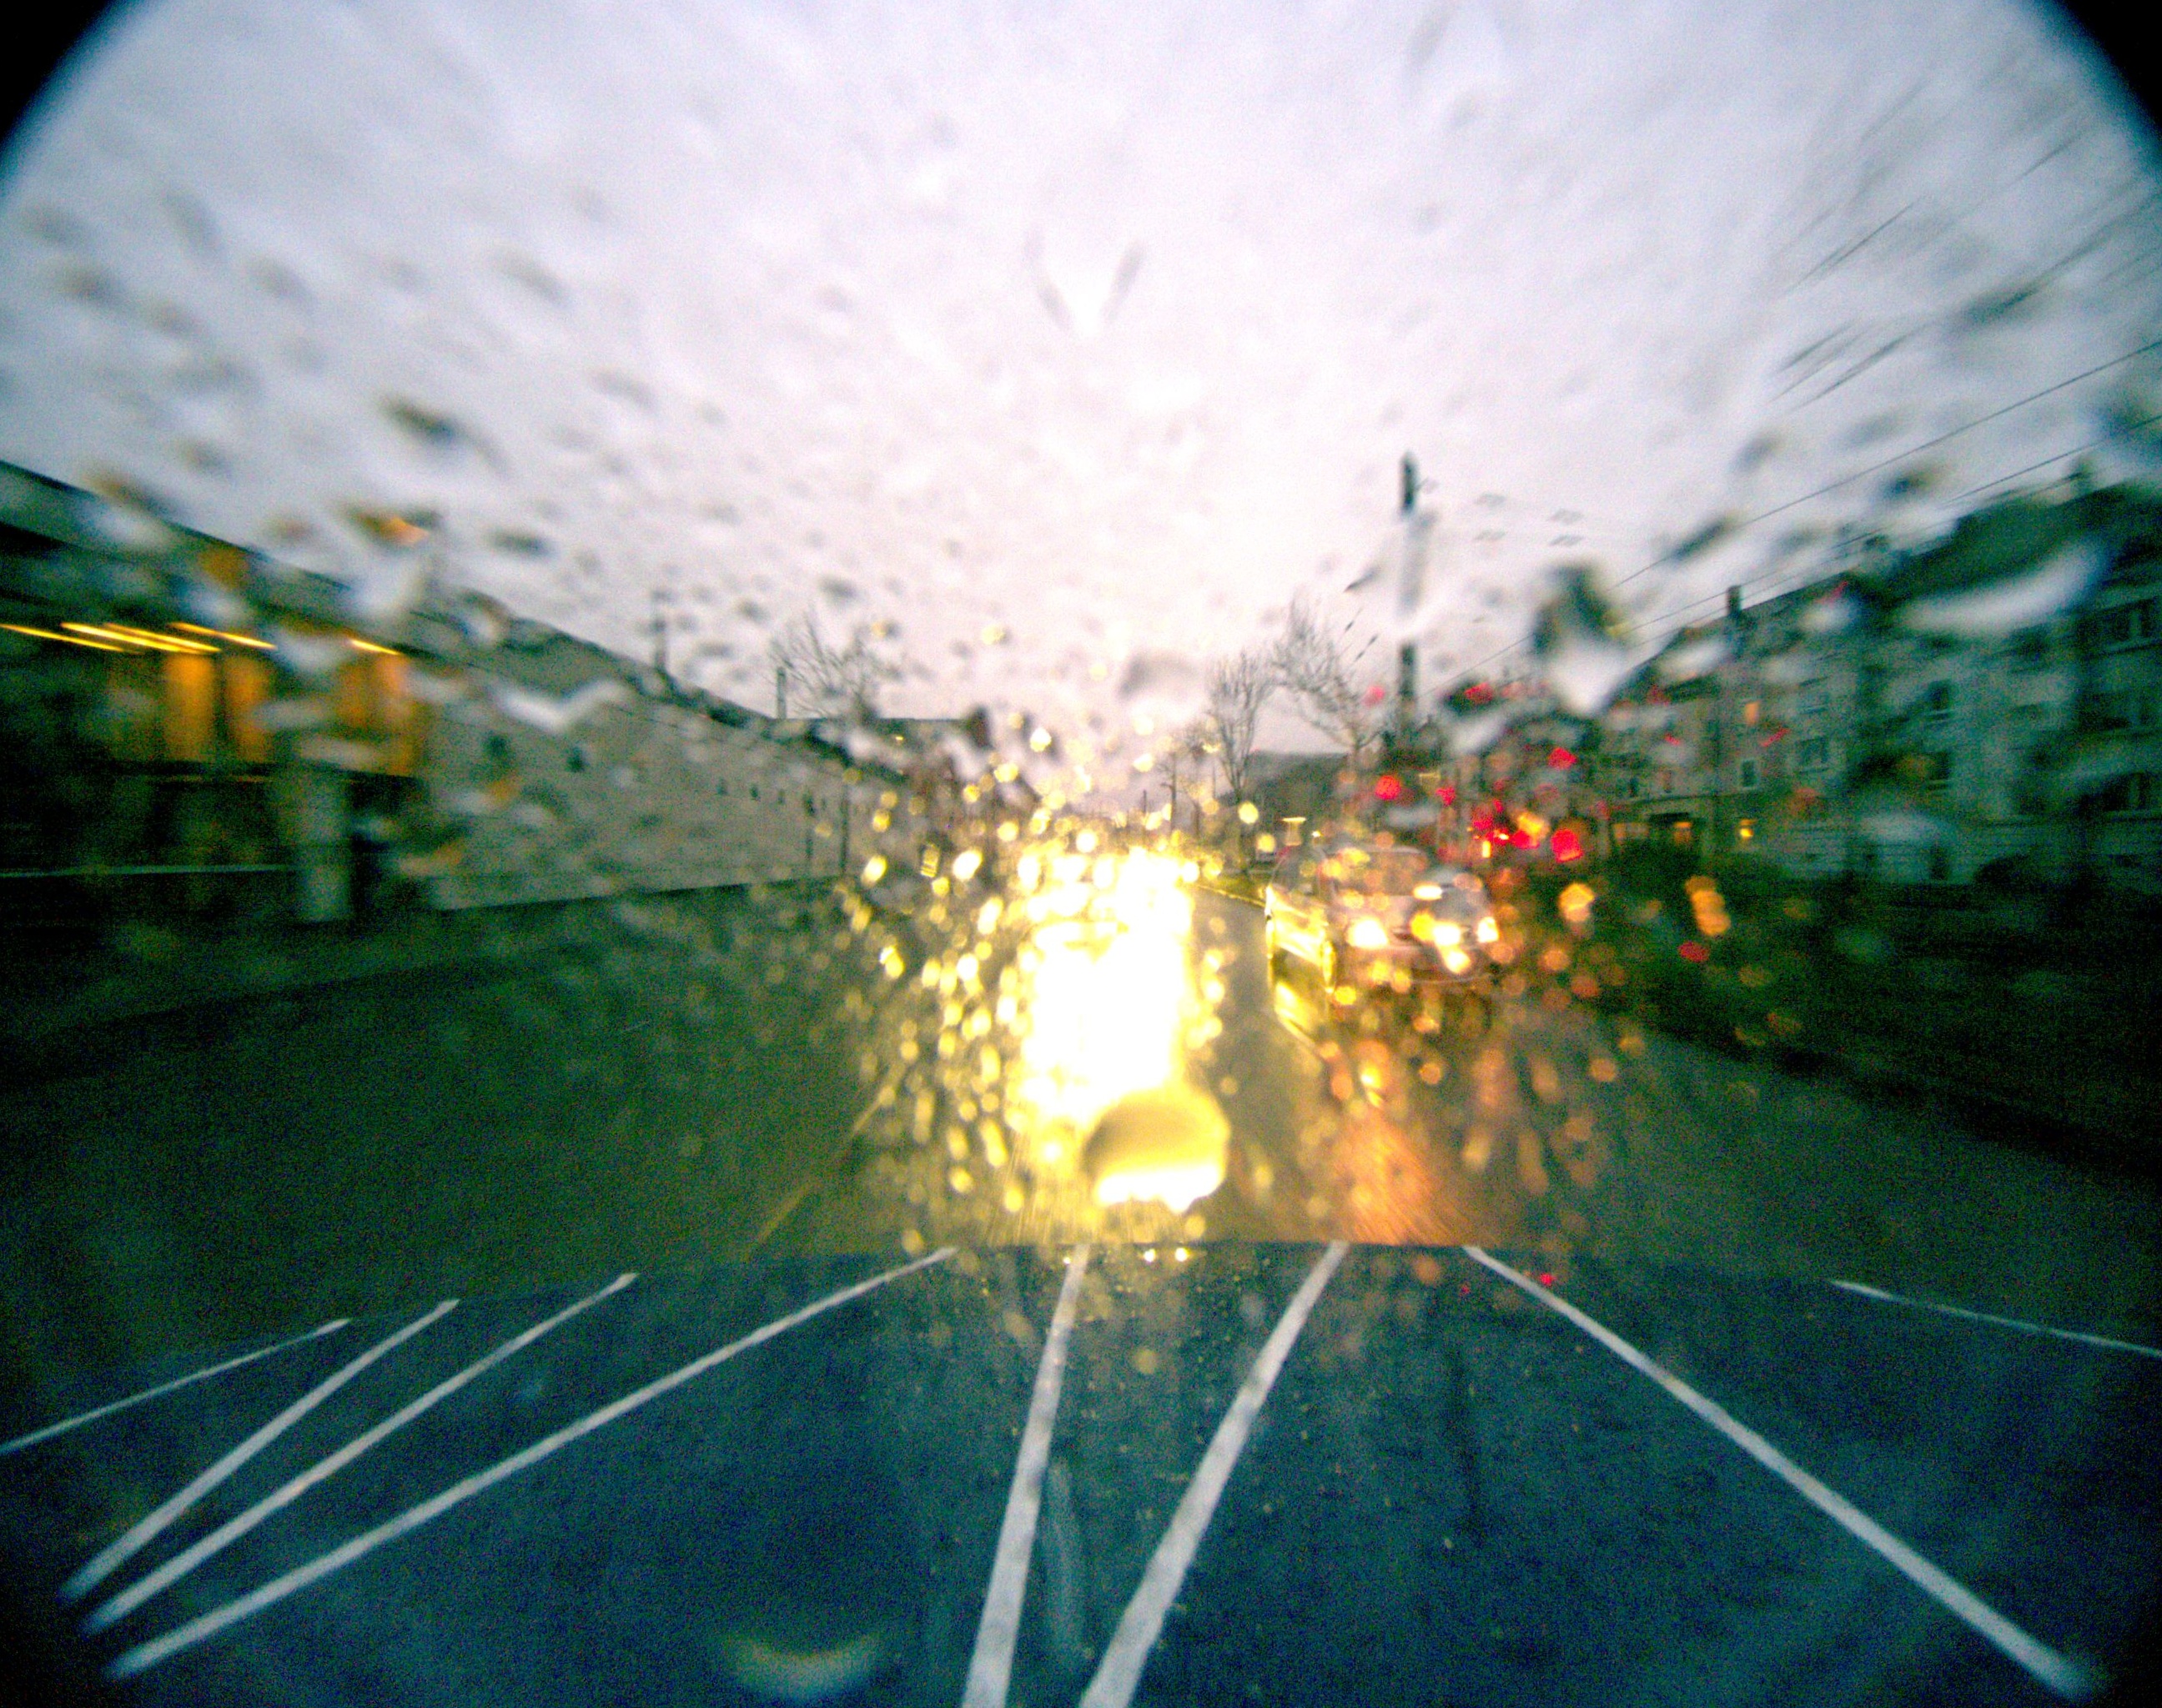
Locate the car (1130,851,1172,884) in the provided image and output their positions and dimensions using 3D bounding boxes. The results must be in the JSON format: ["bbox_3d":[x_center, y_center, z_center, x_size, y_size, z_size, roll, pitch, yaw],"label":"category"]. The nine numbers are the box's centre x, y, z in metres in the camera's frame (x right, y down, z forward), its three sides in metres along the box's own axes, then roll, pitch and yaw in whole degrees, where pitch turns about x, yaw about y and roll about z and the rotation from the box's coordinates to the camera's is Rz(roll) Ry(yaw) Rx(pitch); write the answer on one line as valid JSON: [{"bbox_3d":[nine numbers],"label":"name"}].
[{"bbox_3d":[3.439,0.635,37.764,1.905,1.475,3.656,-2,1,3],"label":"car"}]

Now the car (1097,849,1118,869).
[{"bbox_3d":[2.433,0.439,70.484,1.802,1.674,3.805,-2,1,1],"label":"car"}]

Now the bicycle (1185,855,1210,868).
[{"bbox_3d":[8.601,0.579,56.272,1.725,0.893,0.733,2,2,1],"label":"bicycle"}]

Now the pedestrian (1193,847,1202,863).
[{"bbox_3d":[8.599,0.042,56.234,0.562,1.150,0.582,-2,1,3],"label":"pedestrian"}]

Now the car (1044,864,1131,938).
[{"bbox_3d":[0.148,0.946,16.858,1.669,1.325,3.786,-2,1,1],"label":"car"}]

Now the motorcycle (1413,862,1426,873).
[{"bbox_3d":[21.021,0.839,47.225,0.422,0.679,1.176,-2,1,7],"label":"motorcycle"}]

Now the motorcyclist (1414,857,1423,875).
[{"bbox_3d":[21.040,0.739,47.319,0.415,1.055,0.345,-2,1,8],"label":"motorcyclist"}]

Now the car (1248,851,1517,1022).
[{"bbox_3d":[3.216,0.759,8.985,1.638,1.511,3.907,-2,1,1],"label":"car"}]

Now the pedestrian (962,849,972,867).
[{"bbox_3d":[-10.464,0.339,69.784,0.674,1.639,0.769,2,1,0],"label":"pedestrian"}]

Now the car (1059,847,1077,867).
[{"bbox_3d":[-1.284,0.299,77.894,1.671,2.002,3.774,-2,1,1],"label":"car"}]

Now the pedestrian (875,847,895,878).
[{"bbox_3d":[-10.378,0.447,40.270,0.814,1.621,0.883,2,1,0],"label":"pedestrian"}]

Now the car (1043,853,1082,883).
[{"bbox_3d":[-0.848,0.631,37.338,1.736,1.311,3.803,-2,1,1],"label":"car"}]

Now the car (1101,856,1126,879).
[{"bbox_3d":[2.106,0.851,49.915,1.538,1.347,3.546,-2,1,1],"label":"car"}]
